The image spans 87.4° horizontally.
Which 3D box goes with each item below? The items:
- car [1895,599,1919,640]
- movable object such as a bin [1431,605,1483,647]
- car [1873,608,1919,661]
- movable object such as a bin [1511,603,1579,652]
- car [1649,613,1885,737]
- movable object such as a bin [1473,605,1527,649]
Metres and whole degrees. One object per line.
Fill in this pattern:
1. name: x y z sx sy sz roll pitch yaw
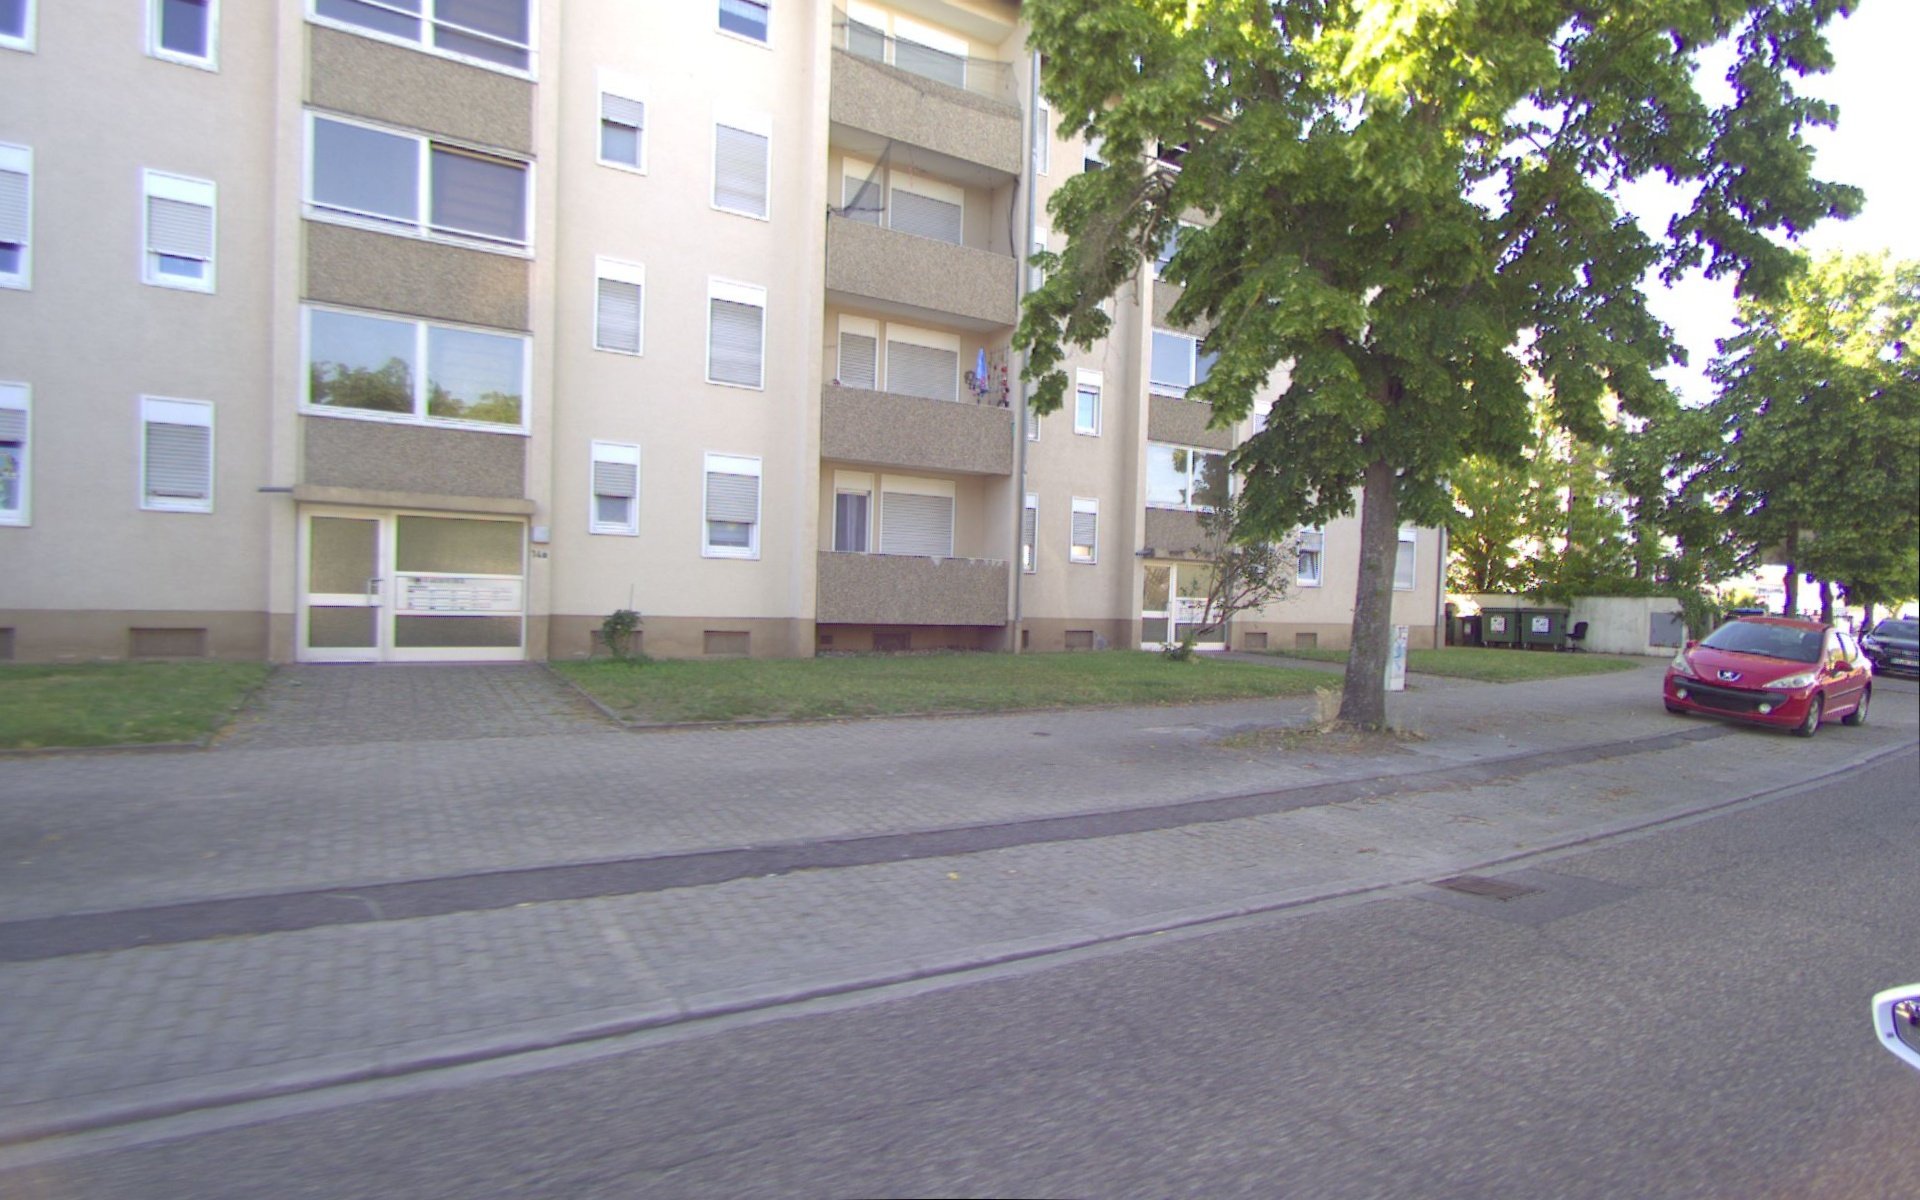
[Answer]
1. car: 56.156 1.183 58.492 4.258 2.199 1.888 1 7 -42
2. movable object such as a bin: 16.764 0.871 33.882 1.077 1.339 1.164 4 -1 -35
3. car: 34.310 1.284 35.704 4.251 1.652 1.821 2 7 -37
4. movable object such as a bin: 18.397 0.855 31.587 1.077 1.446 1.507 4 -1 -35
5. car: 12.003 1.023 14.854 4.251 1.511 1.676 2 1 -37
6. movable object such as a bin: 17.600 0.875 32.737 1.077 1.339 1.164 4 -1 -35
